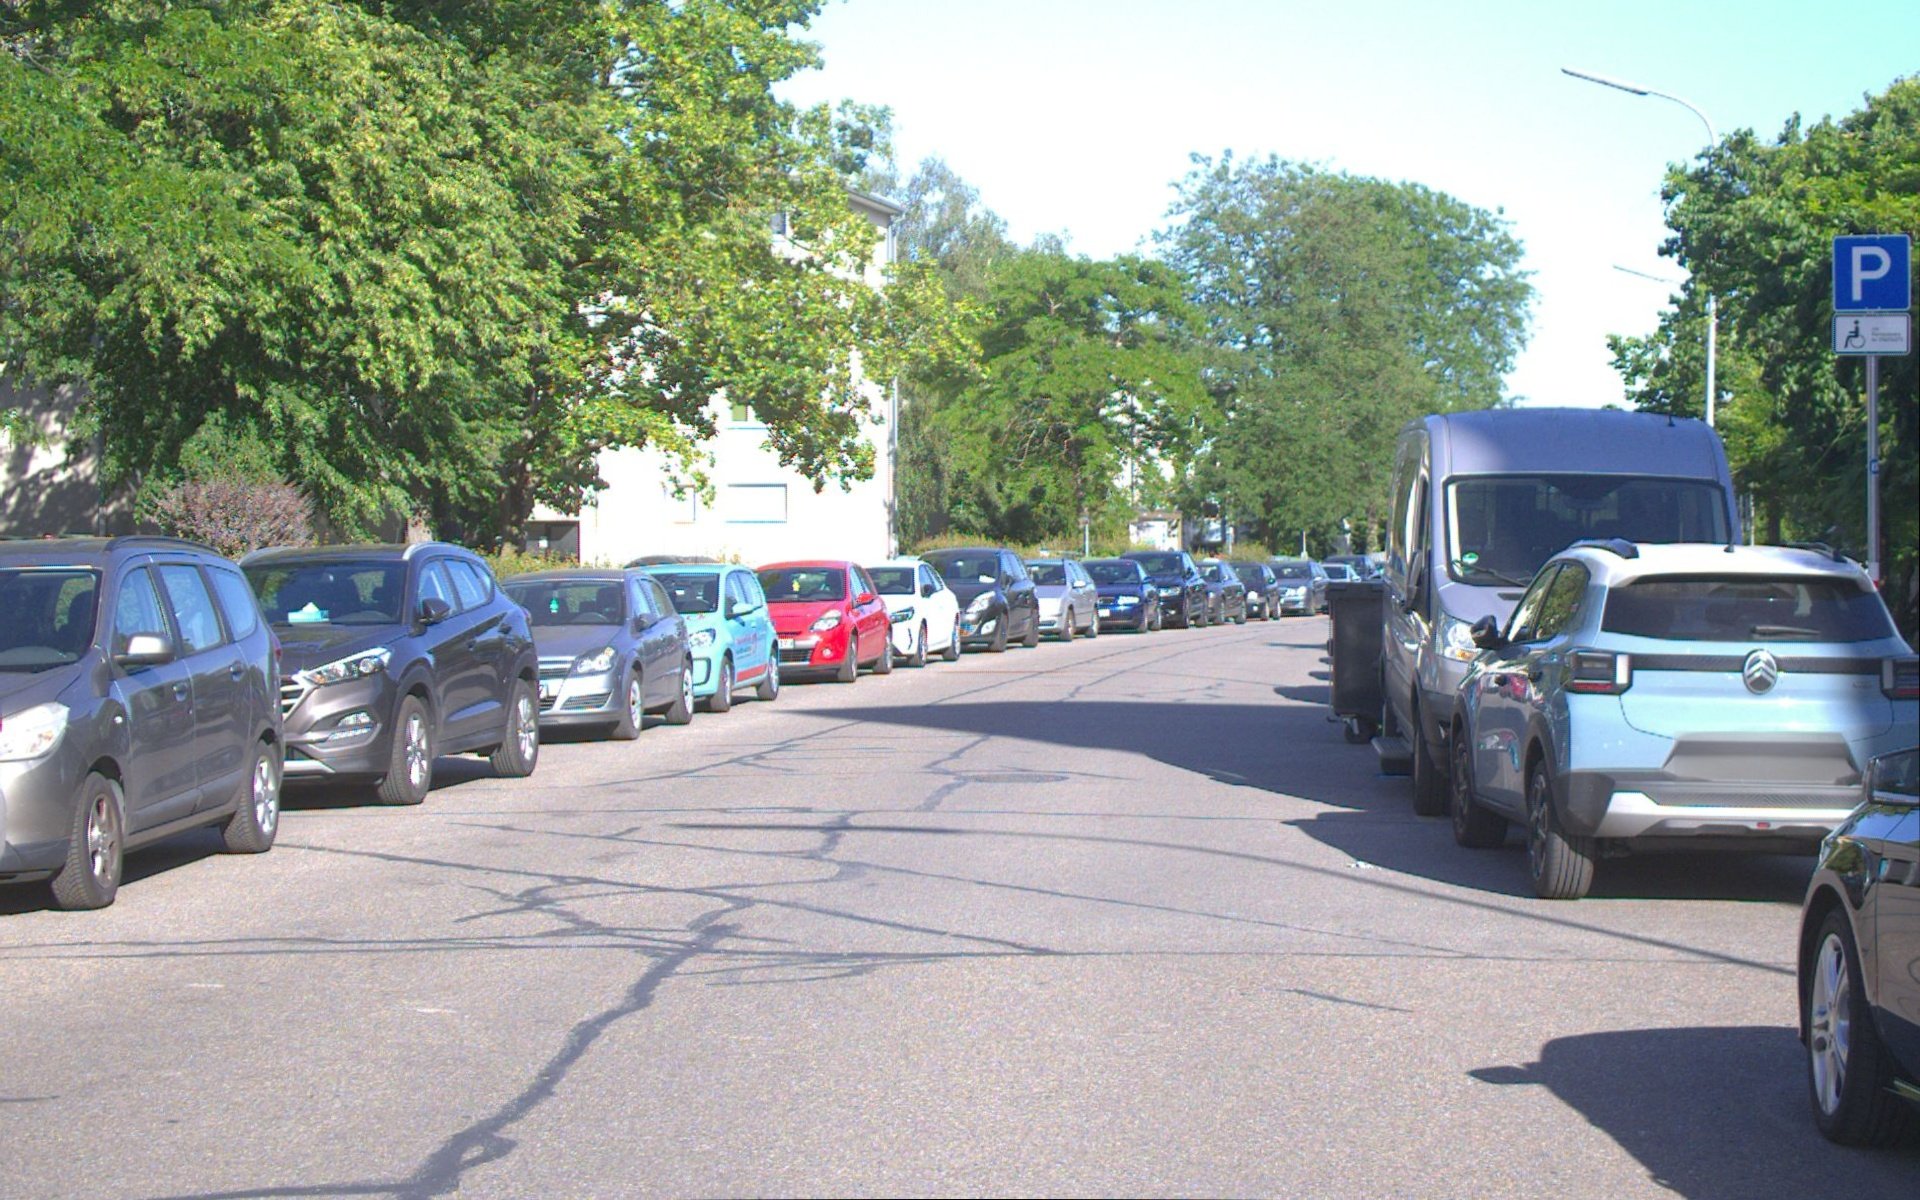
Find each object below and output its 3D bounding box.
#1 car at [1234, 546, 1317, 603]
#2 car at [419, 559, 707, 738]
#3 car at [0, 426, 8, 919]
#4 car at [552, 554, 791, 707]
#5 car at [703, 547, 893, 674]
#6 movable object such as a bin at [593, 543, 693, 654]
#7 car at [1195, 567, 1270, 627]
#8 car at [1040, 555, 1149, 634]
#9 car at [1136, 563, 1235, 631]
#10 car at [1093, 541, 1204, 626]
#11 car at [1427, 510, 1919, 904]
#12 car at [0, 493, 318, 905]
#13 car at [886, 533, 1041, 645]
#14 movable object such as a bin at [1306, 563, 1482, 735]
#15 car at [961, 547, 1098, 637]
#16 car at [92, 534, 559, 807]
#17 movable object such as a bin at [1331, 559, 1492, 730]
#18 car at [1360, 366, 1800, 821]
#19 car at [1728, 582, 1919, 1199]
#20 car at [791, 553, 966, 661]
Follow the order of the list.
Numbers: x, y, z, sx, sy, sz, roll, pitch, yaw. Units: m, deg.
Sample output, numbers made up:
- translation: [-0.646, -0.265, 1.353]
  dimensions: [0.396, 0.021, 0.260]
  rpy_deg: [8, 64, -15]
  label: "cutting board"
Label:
- translation: [8.352, -0.679, 90.878]
  dimensions: [1.510, 1.446, 3.688]
  rpy_deg: [-1, 0, 16]
  label: "car"
- translation: [-3.403, 0.386, 30.150]
  dimensions: [1.670, 1.432, 3.999]
  rpy_deg: [-1, 0, 6]
  label: "car"
- translation: [-4.825, 0.322, 11.419]
  dimensions: [1.863, 1.954, 4.670]
  rpy_deg: [0, 1, 2]
  label: "car"
- translation: [-2.903, 0.287, 35.342]
  dimensions: [1.671, 1.469, 3.677]
  rpy_deg: [-1, 0, 8]
  label: "car"
- translation: [-1.938, 0.111, 42.192]
  dimensions: [1.671, 1.469, 3.677]
  rpy_deg: [-1, 0, 8]
  label: "car"
- translation: [-4.340, -0.032, 47.222]
  dimensions: [1.111, 1.493, 1.408]
  rpy_deg: [0, 1, 6]
  label: "movable object such as a bin"
- translation: [6.691, -0.088, 84.316]
  dimensions: [1.390, 1.408, 3.123]
  rpy_deg: [-1, 0, 12]
  label: "car"
- translation: [2.609, -0.120, 66.015]
  dimensions: [1.660, 1.422, 4.048]
  rpy_deg: [-1, 0, 8]
  label: "car"
- translation: [5.030, -0.074, 76.380]
  dimensions: [1.661, 1.434, 3.758]
  rpy_deg: [-1, 0, 12]
  label: "car"
- translation: [3.941, -0.352, 71.299]
  dimensions: [1.661, 1.682, 4.047]
  rpy_deg: [-1, 0, 12]
  label: "car"
- translation: [3.471, 0.434, 16.702]
  dimensions: [1.910, 1.661, 4.375]
  rpy_deg: [0, 0, 1]
  label: "car"
- translation: [-4.421, 0.387, 16.561]
  dimensions: [1.556, 1.716, 4.340]
  rpy_deg: [0, 1, 4]
  label: "car"
- translation: [0.103, -0.181, 54.063]
  dimensions: [1.671, 1.661, 4.404]
  rpy_deg: [-1, 0, 10]
  label: "car"
- translation: [3.502, 0.381, 27.642]
  dimensions: [1.270, 1.309, 1.122]
  rpy_deg: [-1, 2, 13]
  label: "movable object such as a bin"
- translation: [1.263, -0.152, 60.419]
  dimensions: [1.661, 1.481, 4.050]
  rpy_deg: [-1, 0, 12]
  label: "car"
- translation: [-4.022, 0.391, 22.553]
  dimensions: [1.749, 1.612, 4.361]
  rpy_deg: [0, 1, 7]
  label: "car"
- translation: [3.790, 0.359, 28.776]
  dimensions: [1.229, 1.392, 1.169]
  rpy_deg: [0, 0, 13]
  label: "movable object such as a bin"
- translation: [3.785, -0.061, 22.043]
  dimensions: [2.105, 2.478, 5.855]
  rpy_deg: [2, 0, 4]
  label: "car"
- translation: [3.122, 0.708, 7.718]
  dimensions: [1.910, 1.483, 4.375]
  rpy_deg: [0, 0, 1]
  label: "car"
- translation: [-1.084, 0.076, 47.552]
  dimensions: [1.671, 1.416, 3.899]
  rpy_deg: [-1, 0, 10]
  label: "car"
